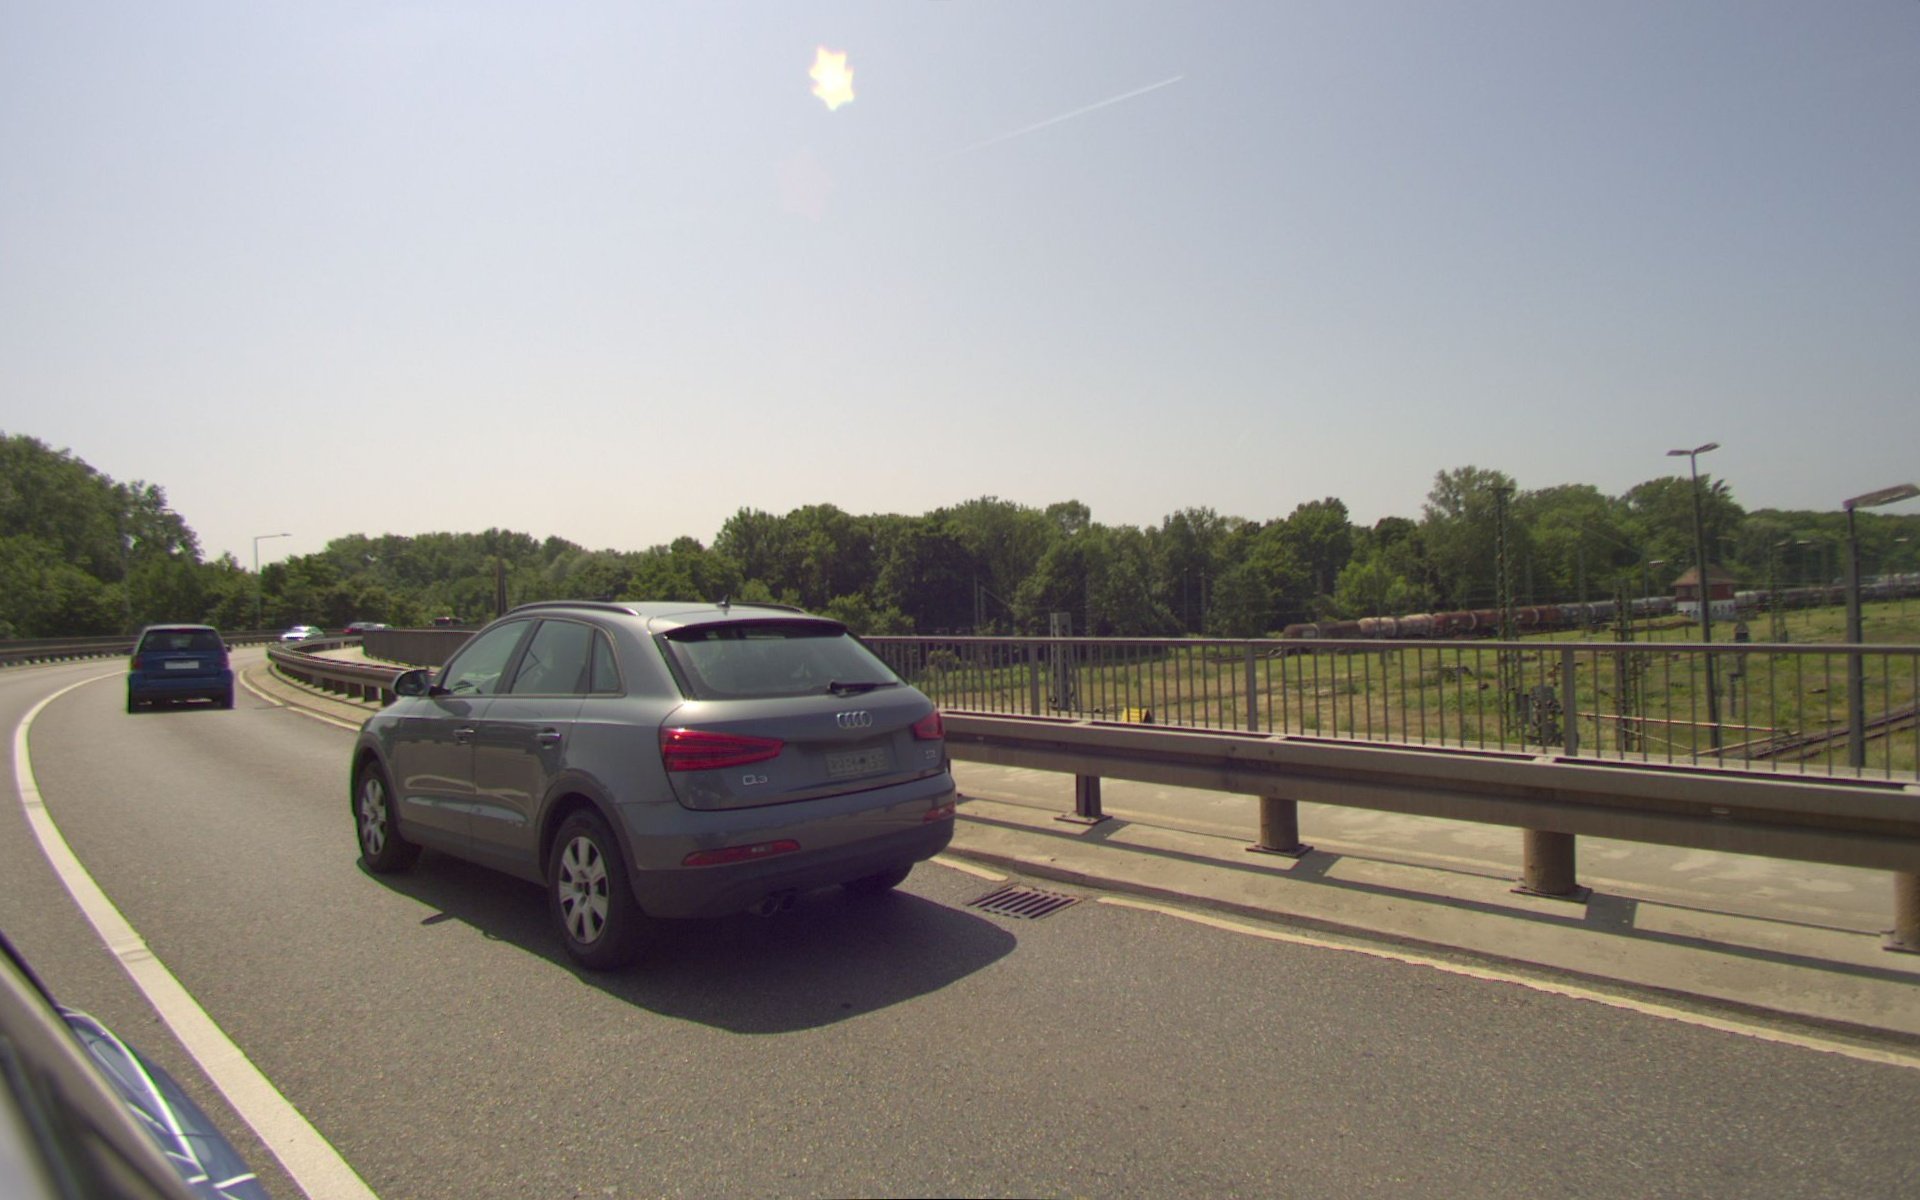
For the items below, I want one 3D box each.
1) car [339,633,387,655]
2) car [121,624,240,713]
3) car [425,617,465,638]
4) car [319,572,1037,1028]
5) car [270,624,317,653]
[{"bbox_3d":[-46.040,3.351,78.086,1.867,1.608,4.498,-2,-2,-12],"label":"car"},{"bbox_3d":[-14.646,1.255,19.133,1.575,1.497,2.755,-1,-2,-34],"label":"car"},{"bbox_3d":[-51.186,2.686,100.691,1.981,1.974,5.281,0,-1,-9],"label":"car"},{"bbox_3d":[-1.806,0.762,5.534,4.193,1.548,1.803,-3,-2,42],"label":"car"},{"bbox_3d":[-48.770,2.833,74.138,1.965,2.029,4.013,-1,-2,-20],"label":"car"}]
